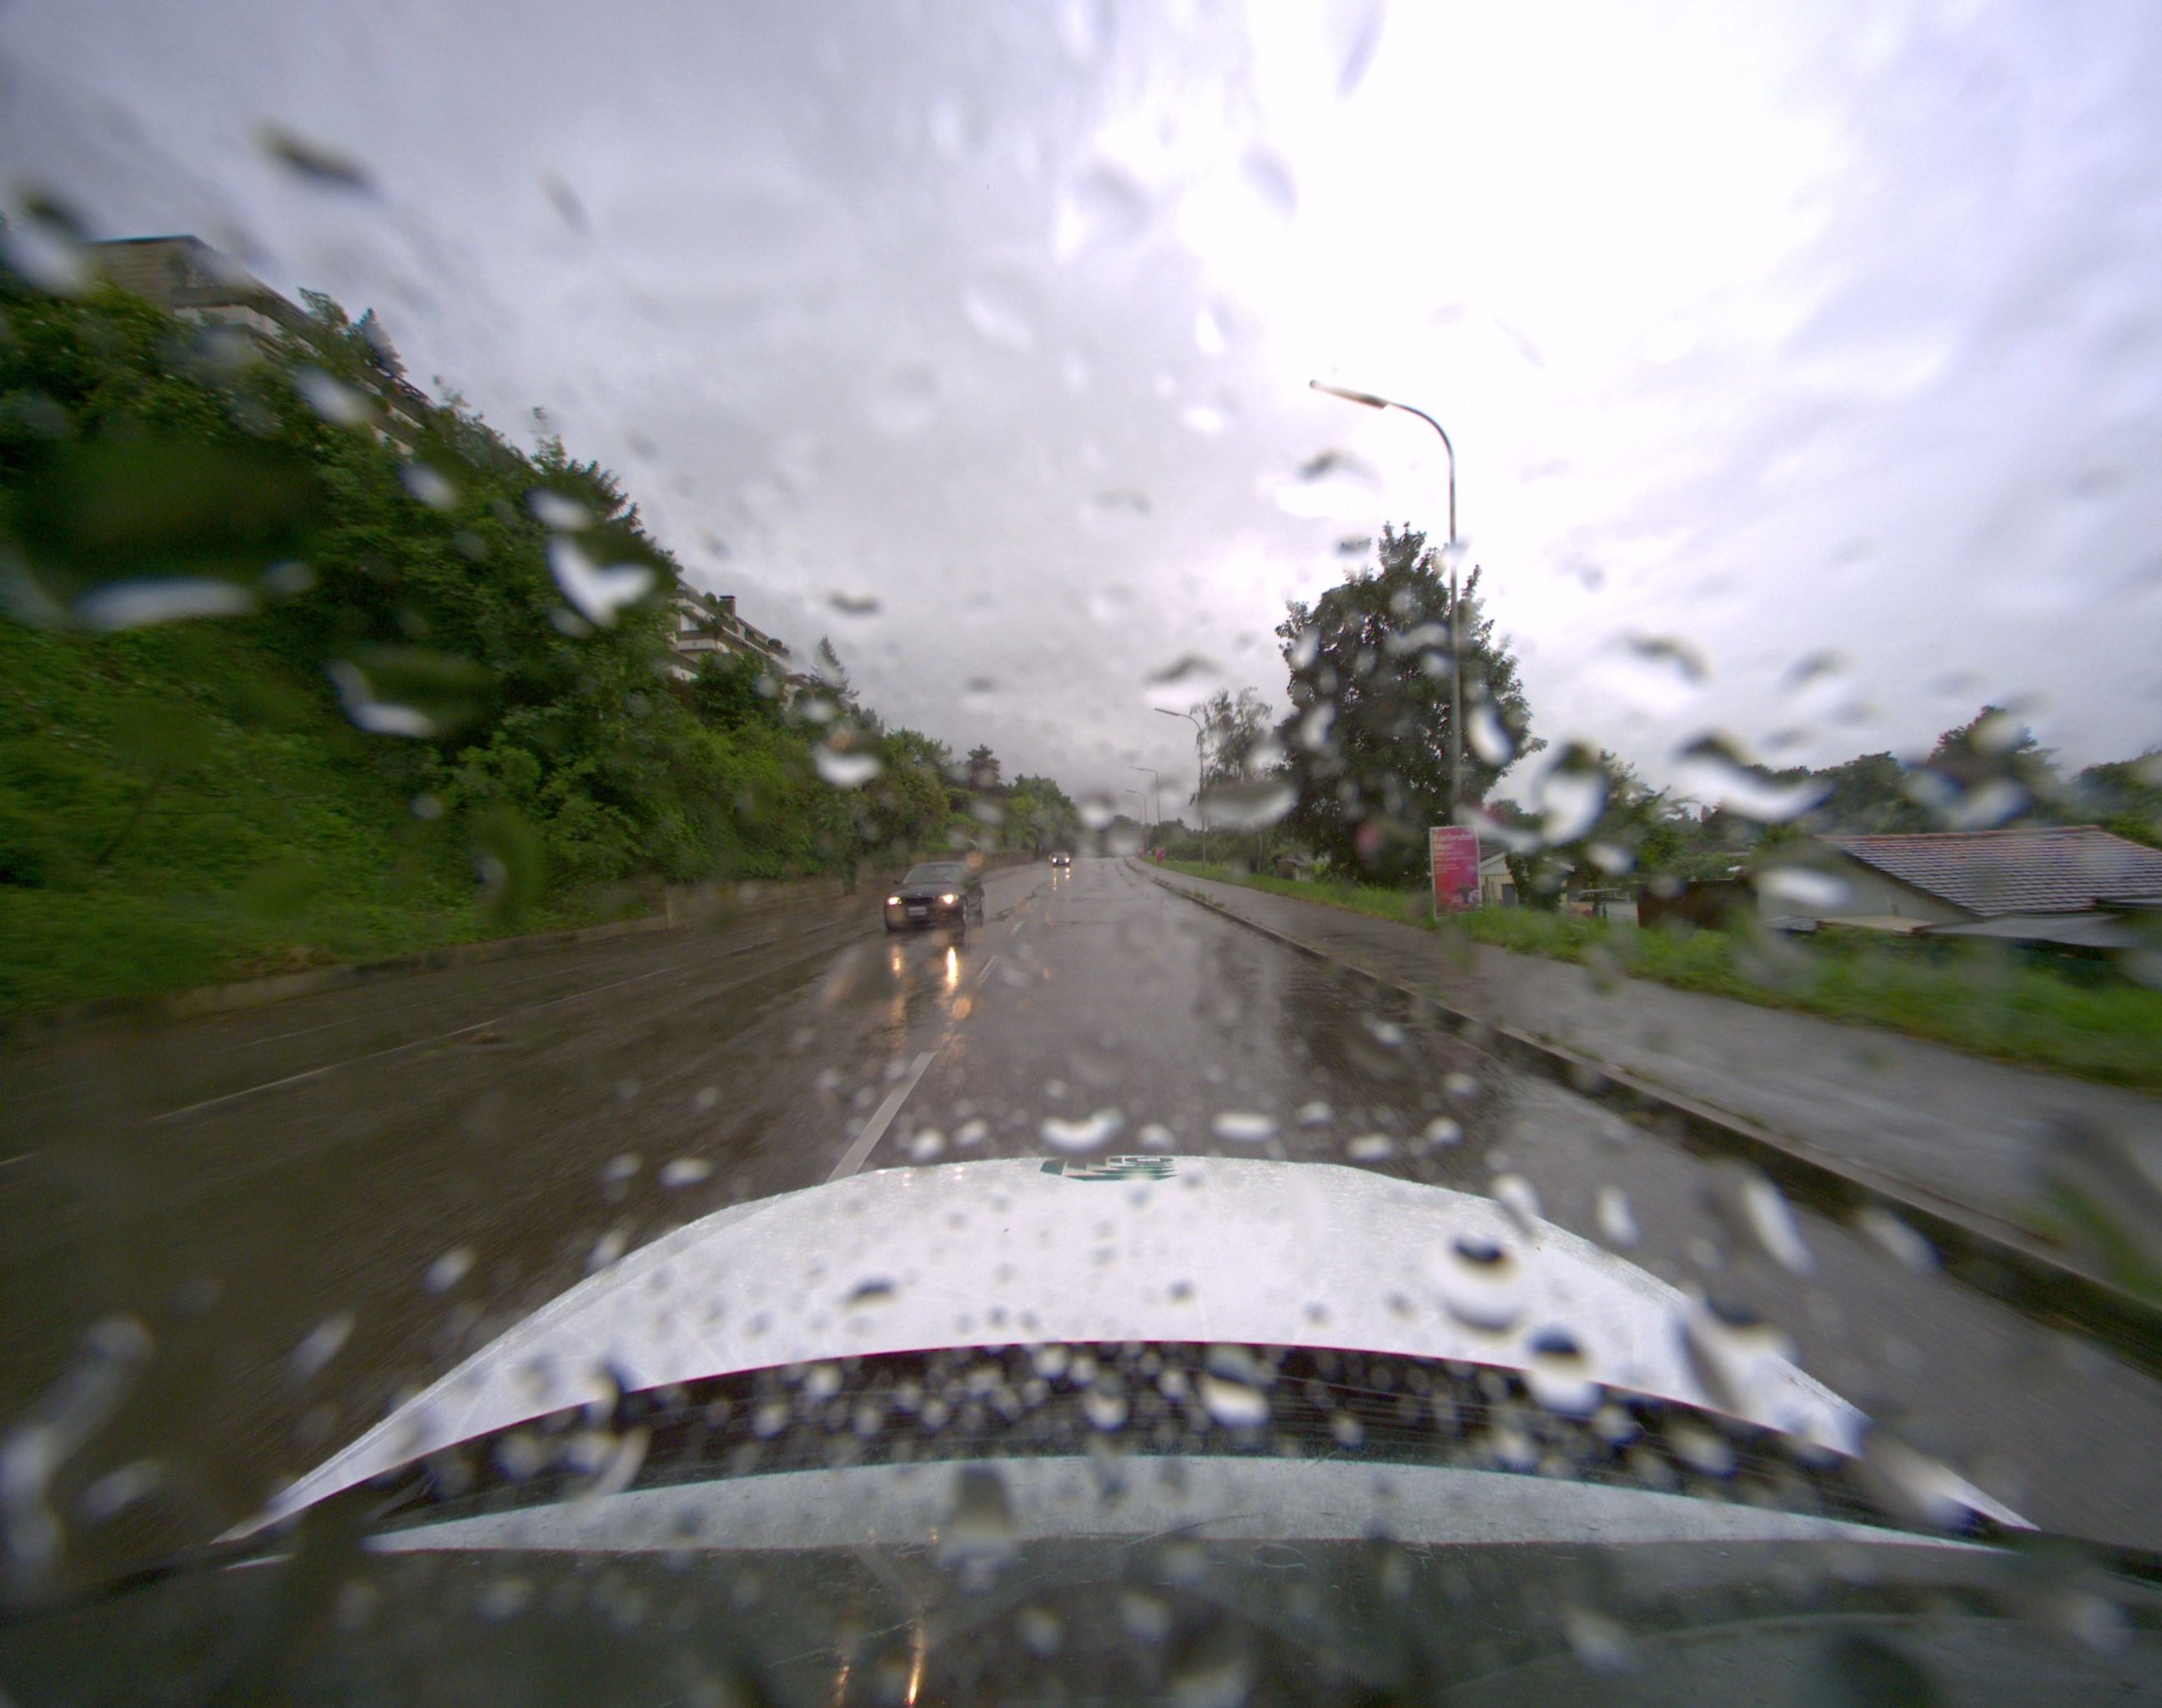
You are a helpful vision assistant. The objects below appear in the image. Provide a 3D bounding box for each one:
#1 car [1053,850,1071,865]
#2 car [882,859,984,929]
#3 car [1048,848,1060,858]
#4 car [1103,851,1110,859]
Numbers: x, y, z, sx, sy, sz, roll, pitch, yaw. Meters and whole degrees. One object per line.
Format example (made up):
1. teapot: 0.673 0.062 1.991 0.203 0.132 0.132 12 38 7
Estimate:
1. car: -1.981 0.368 84.059 1.754 1.496 4.126 -2 0 -1
2. car: -3.280 0.835 18.768 1.650 1.352 3.985 -2 0 -1
3. car: -4.211 -0.224 128.339 1.722 1.496 3.985 -2 0 -1
4. car: 6.840 0.261 218.486 1.986 2.013 4.001 -1 0 1
